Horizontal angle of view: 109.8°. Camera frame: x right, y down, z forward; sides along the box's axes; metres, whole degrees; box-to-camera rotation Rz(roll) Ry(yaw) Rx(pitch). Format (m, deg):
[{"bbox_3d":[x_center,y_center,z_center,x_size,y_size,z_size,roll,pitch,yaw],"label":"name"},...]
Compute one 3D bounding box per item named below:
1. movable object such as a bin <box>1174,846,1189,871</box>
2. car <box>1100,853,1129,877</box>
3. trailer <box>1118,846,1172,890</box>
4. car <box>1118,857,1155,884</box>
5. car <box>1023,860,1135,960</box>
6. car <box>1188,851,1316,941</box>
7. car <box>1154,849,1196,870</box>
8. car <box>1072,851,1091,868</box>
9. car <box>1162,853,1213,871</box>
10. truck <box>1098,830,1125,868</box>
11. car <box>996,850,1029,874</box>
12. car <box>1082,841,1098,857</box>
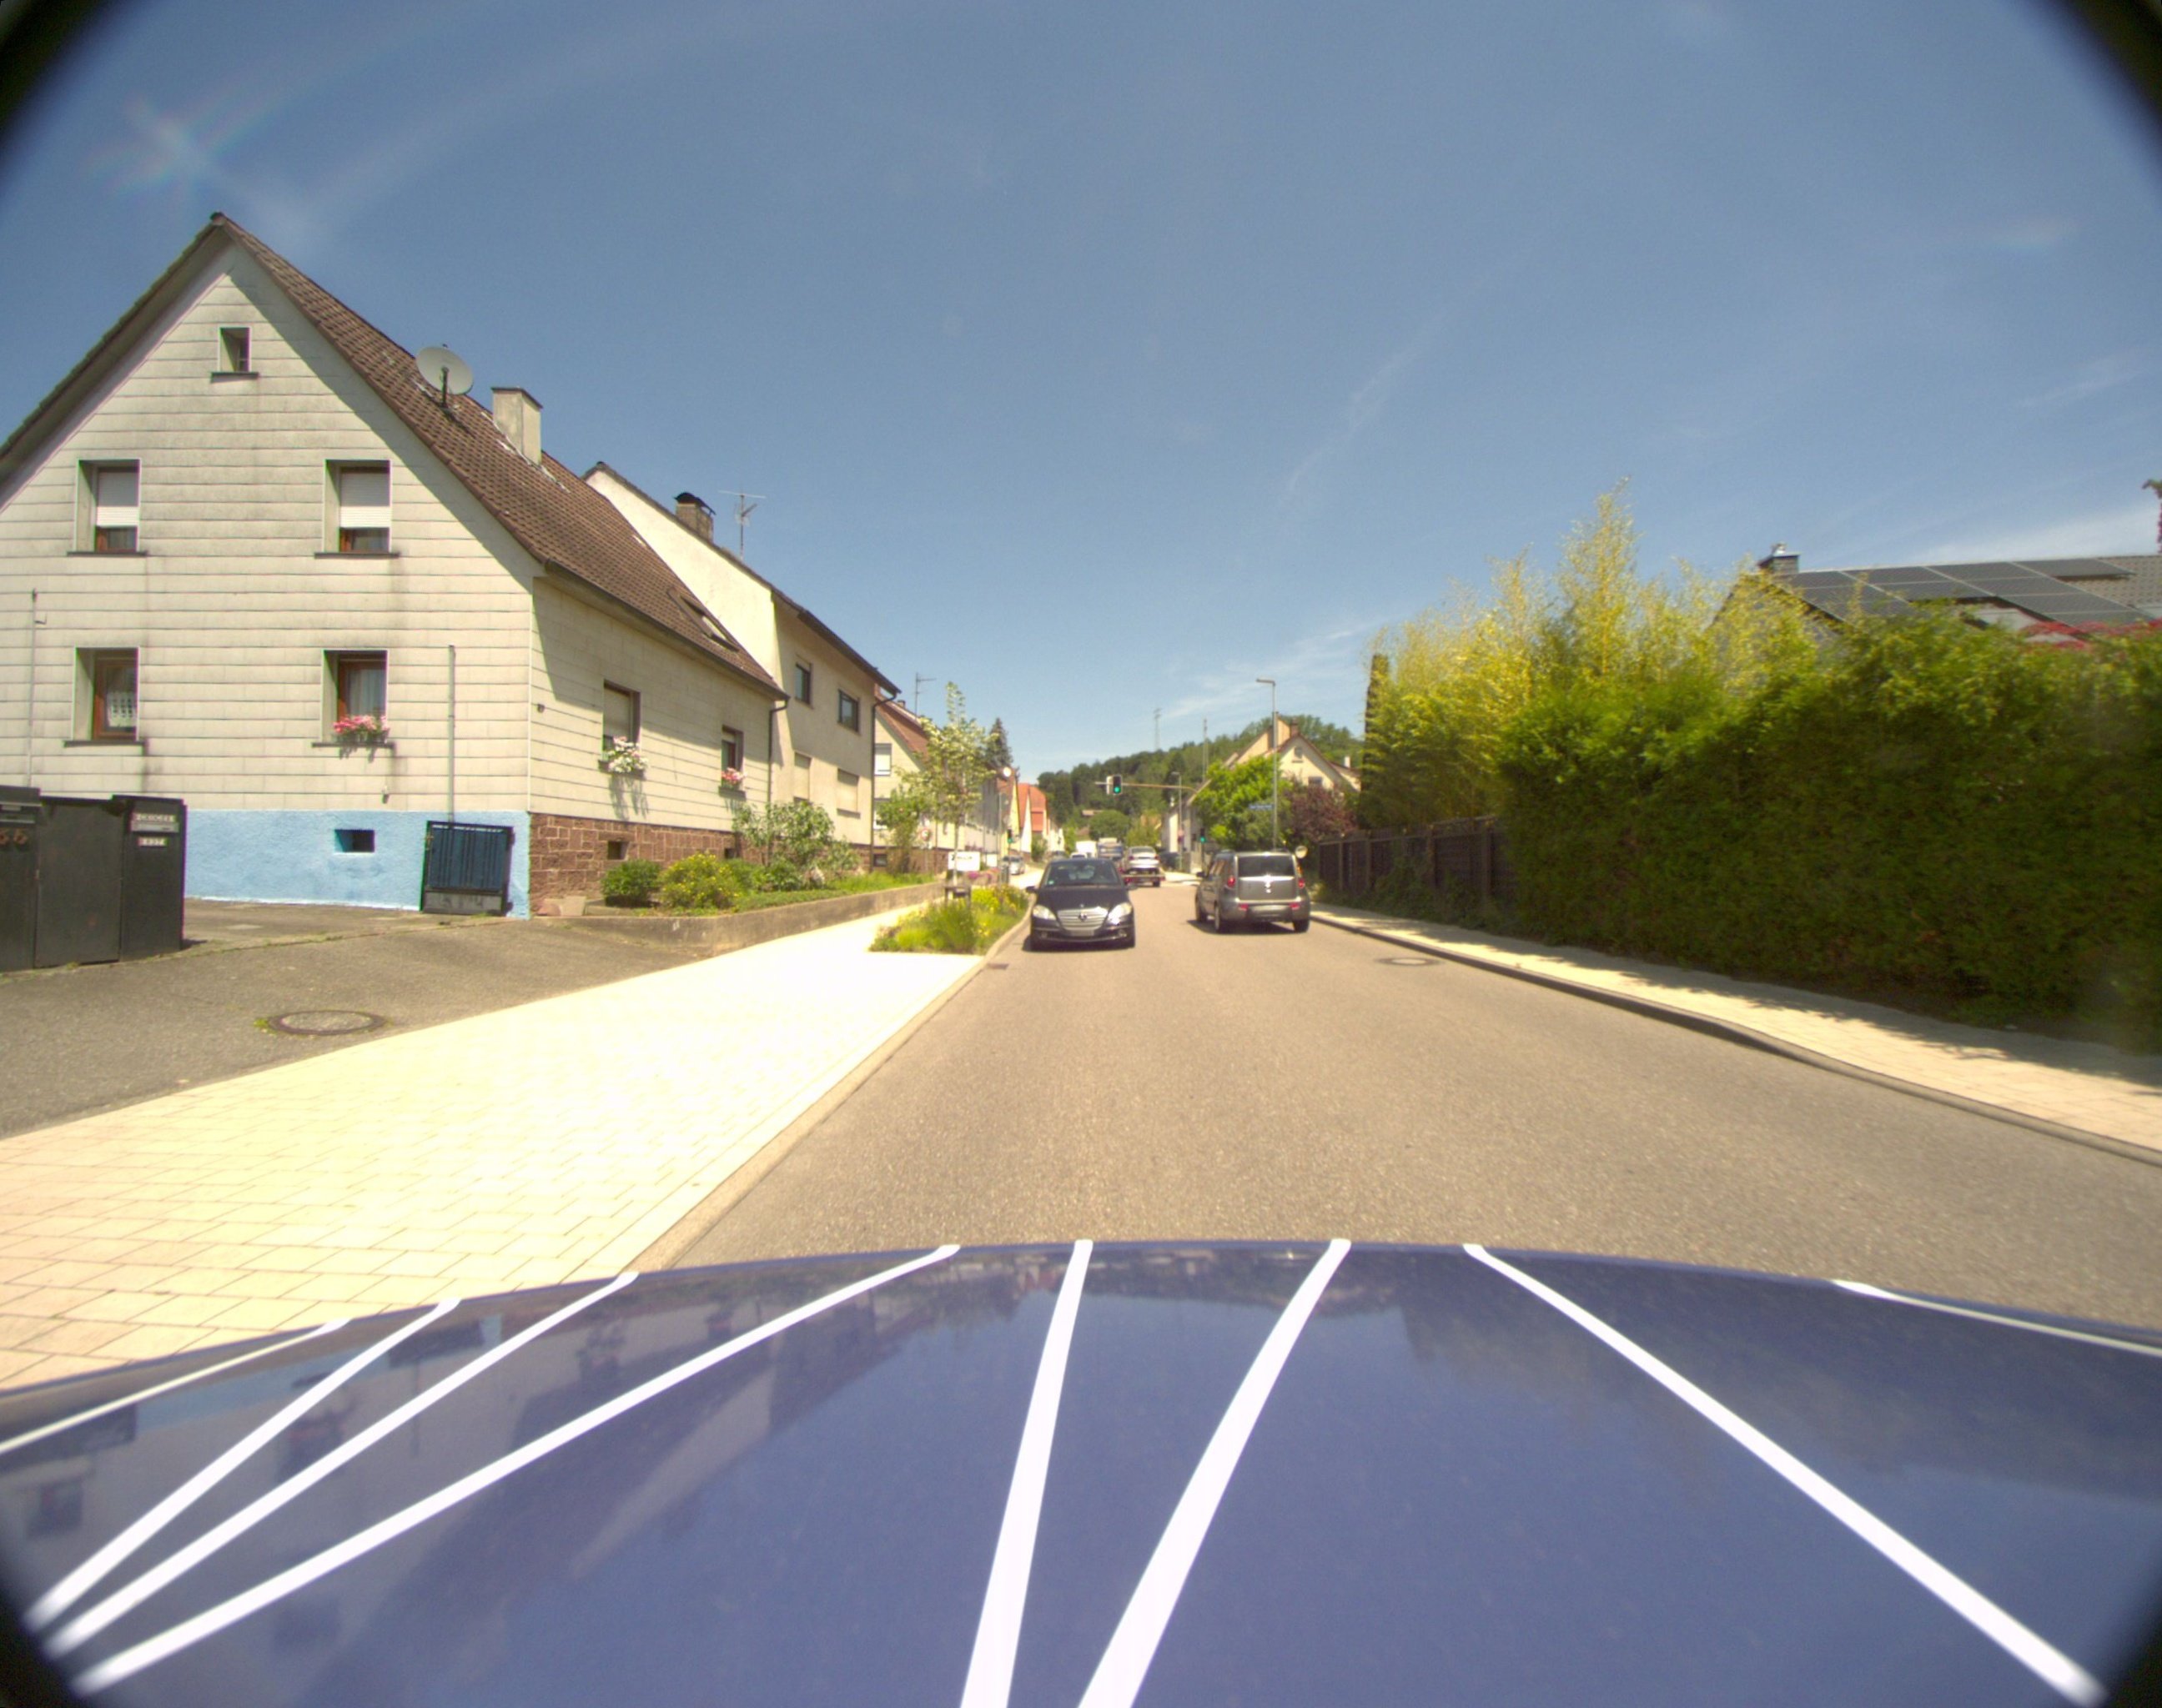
[{"bbox_3d":[8.432,0.355,63.704,1.061,2.002,1.323,-2,1,1],"label":"movable object such as a bin"},{"bbox_3d":[2.464,0.789,57.073,1.893,1.636,4.612,2,1,-1],"label":"car"},{"bbox_3d":[3.192,0.637,38.976,2.161,1.975,6.200,-2,1,0],"label":"trailer"},{"bbox_3d":[3.165,0.905,43.999,1.771,1.394,4.246,-2,1,0],"label":"car"},{"bbox_3d":[0.081,0.923,14.739,1.767,1.571,4.932,-2,0,3],"label":"car"},{"bbox_3d":[3.485,0.801,16.249,1.872,1.643,3.949,-2,0,1],"label":"car"},{"bbox_3d":[8.595,0.522,69.601,3.606,1.780,1.848,-2,1,0],"label":"car"},{"bbox_3d":[0.083,0.592,82.301,1.998,1.716,4.000,-2,0,0],"label":"car"},{"bbox_3d":[9.167,0.702,65.378,4.040,1.491,1.707,-1,1,40],"label":"car"},{"bbox_3d":[3.204,-0.492,78.236,2.547,3.716,8.623,0,0,3],"label":"truck"},{"bbox_3d":[-5.282,0.593,59.408,1.867,1.612,4.508,3,1,3],"label":"car"},{"bbox_3d":[1.219,-0.728,104.412,1.987,2.170,3.998,-2,1,-2],"label":"car"}]
